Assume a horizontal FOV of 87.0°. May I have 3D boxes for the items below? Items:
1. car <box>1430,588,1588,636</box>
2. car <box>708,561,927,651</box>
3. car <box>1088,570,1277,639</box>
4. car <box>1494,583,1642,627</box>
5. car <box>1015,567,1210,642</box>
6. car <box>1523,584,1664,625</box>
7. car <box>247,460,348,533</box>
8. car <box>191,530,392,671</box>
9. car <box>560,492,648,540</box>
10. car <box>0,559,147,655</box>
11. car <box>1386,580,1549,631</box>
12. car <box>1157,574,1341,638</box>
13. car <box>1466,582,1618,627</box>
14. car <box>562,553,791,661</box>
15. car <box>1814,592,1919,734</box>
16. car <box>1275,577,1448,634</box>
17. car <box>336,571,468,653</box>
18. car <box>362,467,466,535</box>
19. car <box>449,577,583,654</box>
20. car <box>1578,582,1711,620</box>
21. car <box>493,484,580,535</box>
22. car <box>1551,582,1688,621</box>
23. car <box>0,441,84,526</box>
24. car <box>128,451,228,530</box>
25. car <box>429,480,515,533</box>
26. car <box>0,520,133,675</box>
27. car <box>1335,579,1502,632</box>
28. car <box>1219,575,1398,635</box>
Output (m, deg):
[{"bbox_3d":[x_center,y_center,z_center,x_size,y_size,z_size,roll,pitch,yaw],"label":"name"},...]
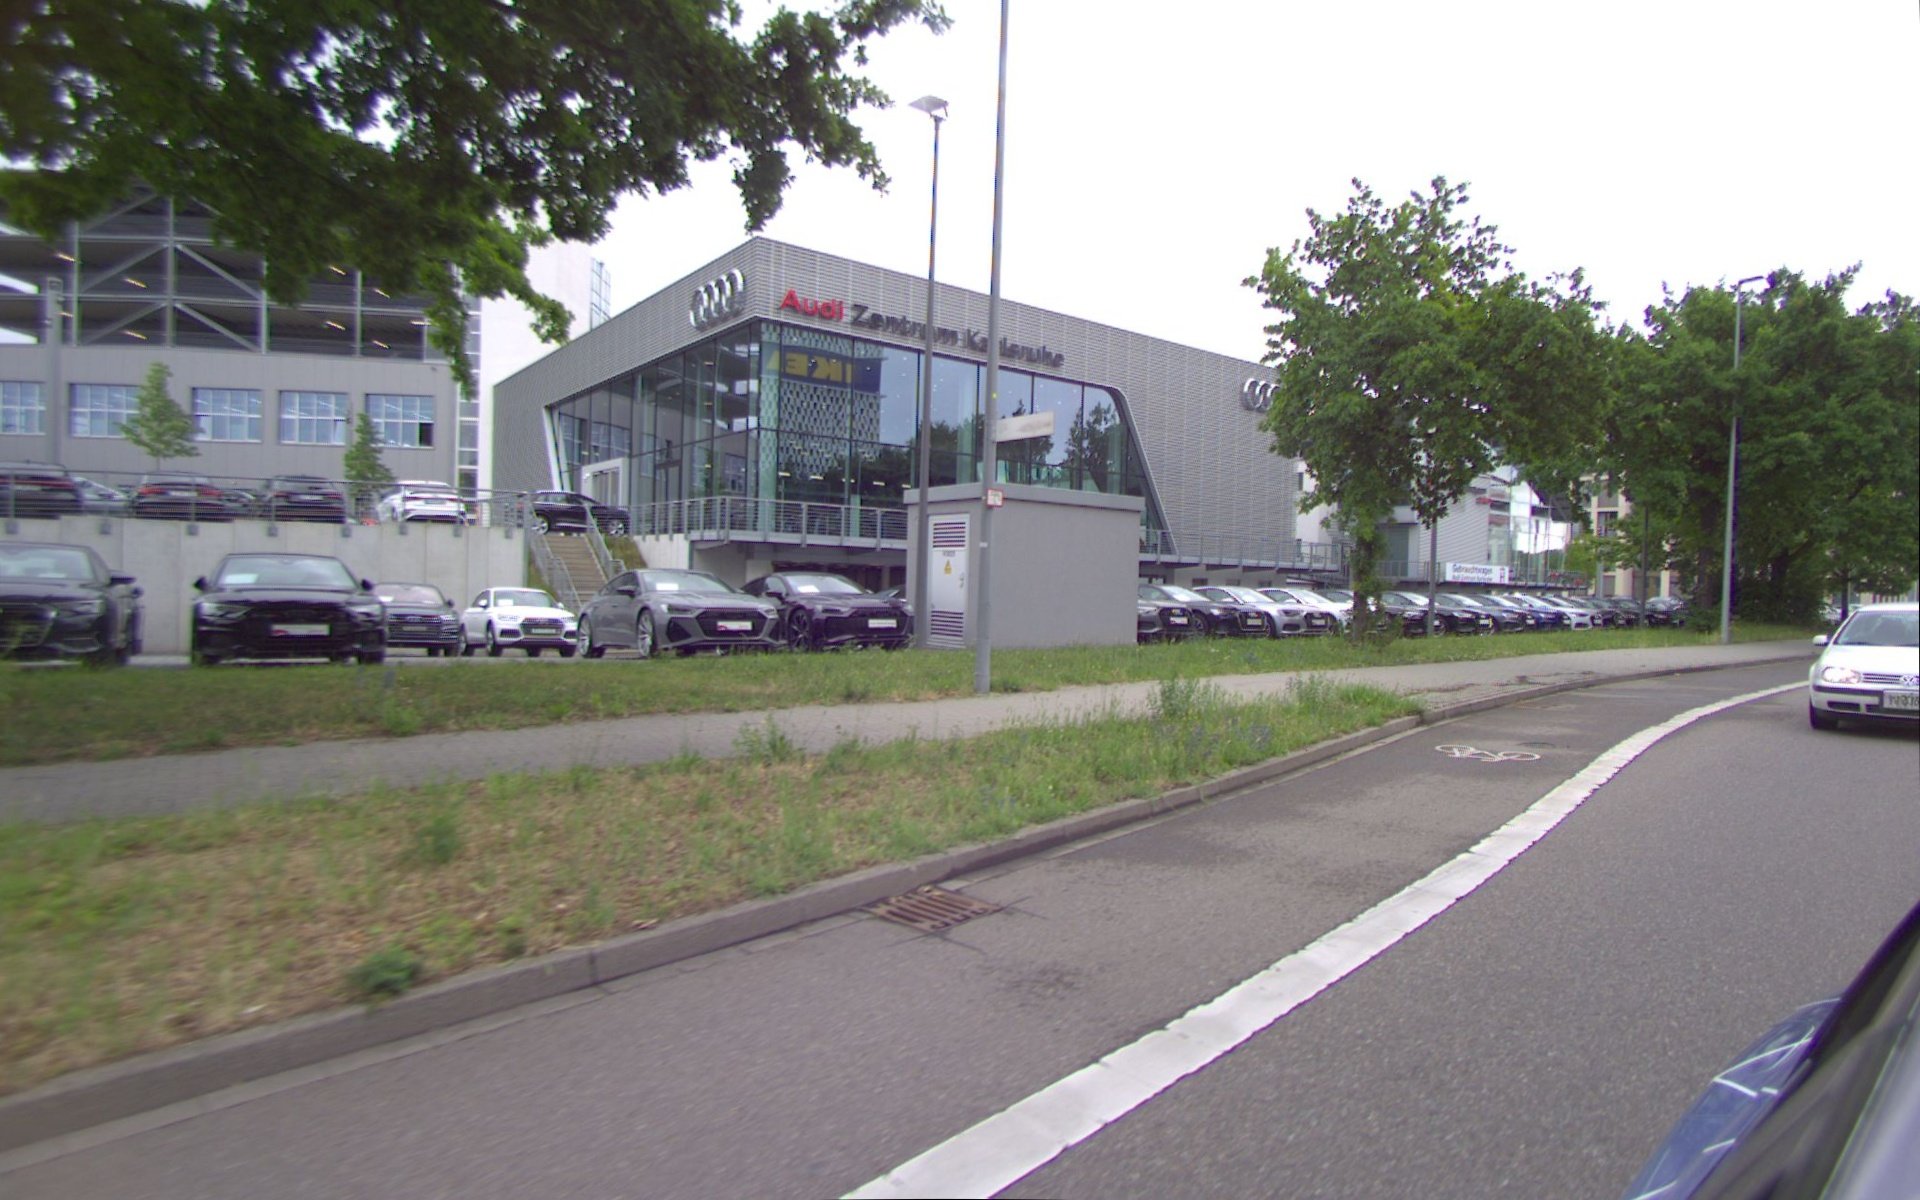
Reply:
[{"bbox_3d":[17.270,0.396,31.994,1.695,1.410,4.040,1,-1,-37],"label":"car"},{"bbox_3d":[-2.546,0.126,17.170,1.829,1.333,4.308,1,-1,-37],"label":"car"},{"bbox_3d":[4.935,0.131,22.876,1.695,1.410,4.040,1,-1,-37],"label":"car"},{"bbox_3d":[20.900,0.200,34.945,1.695,1.410,4.040,1,-1,-37],"label":"car"},{"bbox_3d":[3.114,0.123,21.344,1.695,1.410,4.040,1,-1,-37],"label":"car"},{"bbox_3d":[23.002,0.190,36.870,1.695,1.410,4.040,1,-1,-37],"label":"car"},{"bbox_3d":[-17.462,-2.637,26.600,1.799,1.381,4.306,1,-1,-39],"label":"car"},{"bbox_3d":[-8.506,0.043,12.714,1.810,1.463,4.308,1,-1,-37],"label":"car"},{"bbox_3d":[-13.551,-3.140,38.392,1.799,1.381,4.306,1,-1,-39],"label":"car"},{"bbox_3d":[-16.789,0.160,19.271,1.867,1.622,4.308,1,-1,-37],"label":"car"},{"bbox_3d":[15.162,0.191,30.425,1.695,1.410,4.040,1,-1,-37],"label":"car"},{"bbox_3d":[6.832,0.166,24.302,1.695,1.410,4.040,1,-1,-37],"label":"car"},{"bbox_3d":[19.190,0.178,33.522,1.695,1.410,4.040,1,-1,-37],"label":"car"},{"bbox_3d":[-4.609,0.136,15.941,1.867,1.442,4.763,1,-1,-37],"label":"car"},{"bbox_3d":[11.199,0.654,11.597,3.874,1.442,1.724,0,0,-43],"label":"car"},{"bbox_3d":[10.677,0.176,27.148,1.695,1.410,4.040,1,-1,-37],"label":"car"},{"bbox_3d":[-12.319,0.347,22.206,1.935,1.622,4.307,2,-3,-37],"label":"car"},{"bbox_3d":[-15.273,-2.683,28.227,1.799,1.381,4.306,1,-1,-39],"label":"car"},{"bbox_3d":[-10.627,0.460,24.057,1.867,1.622,4.306,3,-5,-38],"label":"car"},{"bbox_3d":[27.150,0.068,40.242,1.695,1.410,4.040,1,-1,-37],"label":"car"},{"bbox_3d":[-15.449,-3.238,36.808,1.799,1.381,4.306,1,-1,-39],"label":"car"},{"bbox_3d":[25.028,0.089,38.503,1.696,1.410,4.039,1,-1,-39],"label":"car"},{"bbox_3d":[-21.062,-2.569,22.823,1.799,1.381,4.306,1,-1,-39],"label":"car"},{"bbox_3d":[-19.257,-2.599,24.893,1.799,1.381,4.306,1,-1,-39],"label":"car"},{"bbox_3d":[-17.222,-3.226,35.605,1.799,1.381,4.306,1,-1,-39],"label":"car"},{"bbox_3d":[-10.445,0.009,11.205,1.810,1.463,4.308,1,-1,-37],"label":"car"},{"bbox_3d":[12.978,0.181,28.847,1.695,1.410,4.040,1,-1,-37],"label":"car"},{"bbox_3d":[8.796,0.155,25.824,1.695,1.410,4.040,1,-1,-37],"label":"car"}]
